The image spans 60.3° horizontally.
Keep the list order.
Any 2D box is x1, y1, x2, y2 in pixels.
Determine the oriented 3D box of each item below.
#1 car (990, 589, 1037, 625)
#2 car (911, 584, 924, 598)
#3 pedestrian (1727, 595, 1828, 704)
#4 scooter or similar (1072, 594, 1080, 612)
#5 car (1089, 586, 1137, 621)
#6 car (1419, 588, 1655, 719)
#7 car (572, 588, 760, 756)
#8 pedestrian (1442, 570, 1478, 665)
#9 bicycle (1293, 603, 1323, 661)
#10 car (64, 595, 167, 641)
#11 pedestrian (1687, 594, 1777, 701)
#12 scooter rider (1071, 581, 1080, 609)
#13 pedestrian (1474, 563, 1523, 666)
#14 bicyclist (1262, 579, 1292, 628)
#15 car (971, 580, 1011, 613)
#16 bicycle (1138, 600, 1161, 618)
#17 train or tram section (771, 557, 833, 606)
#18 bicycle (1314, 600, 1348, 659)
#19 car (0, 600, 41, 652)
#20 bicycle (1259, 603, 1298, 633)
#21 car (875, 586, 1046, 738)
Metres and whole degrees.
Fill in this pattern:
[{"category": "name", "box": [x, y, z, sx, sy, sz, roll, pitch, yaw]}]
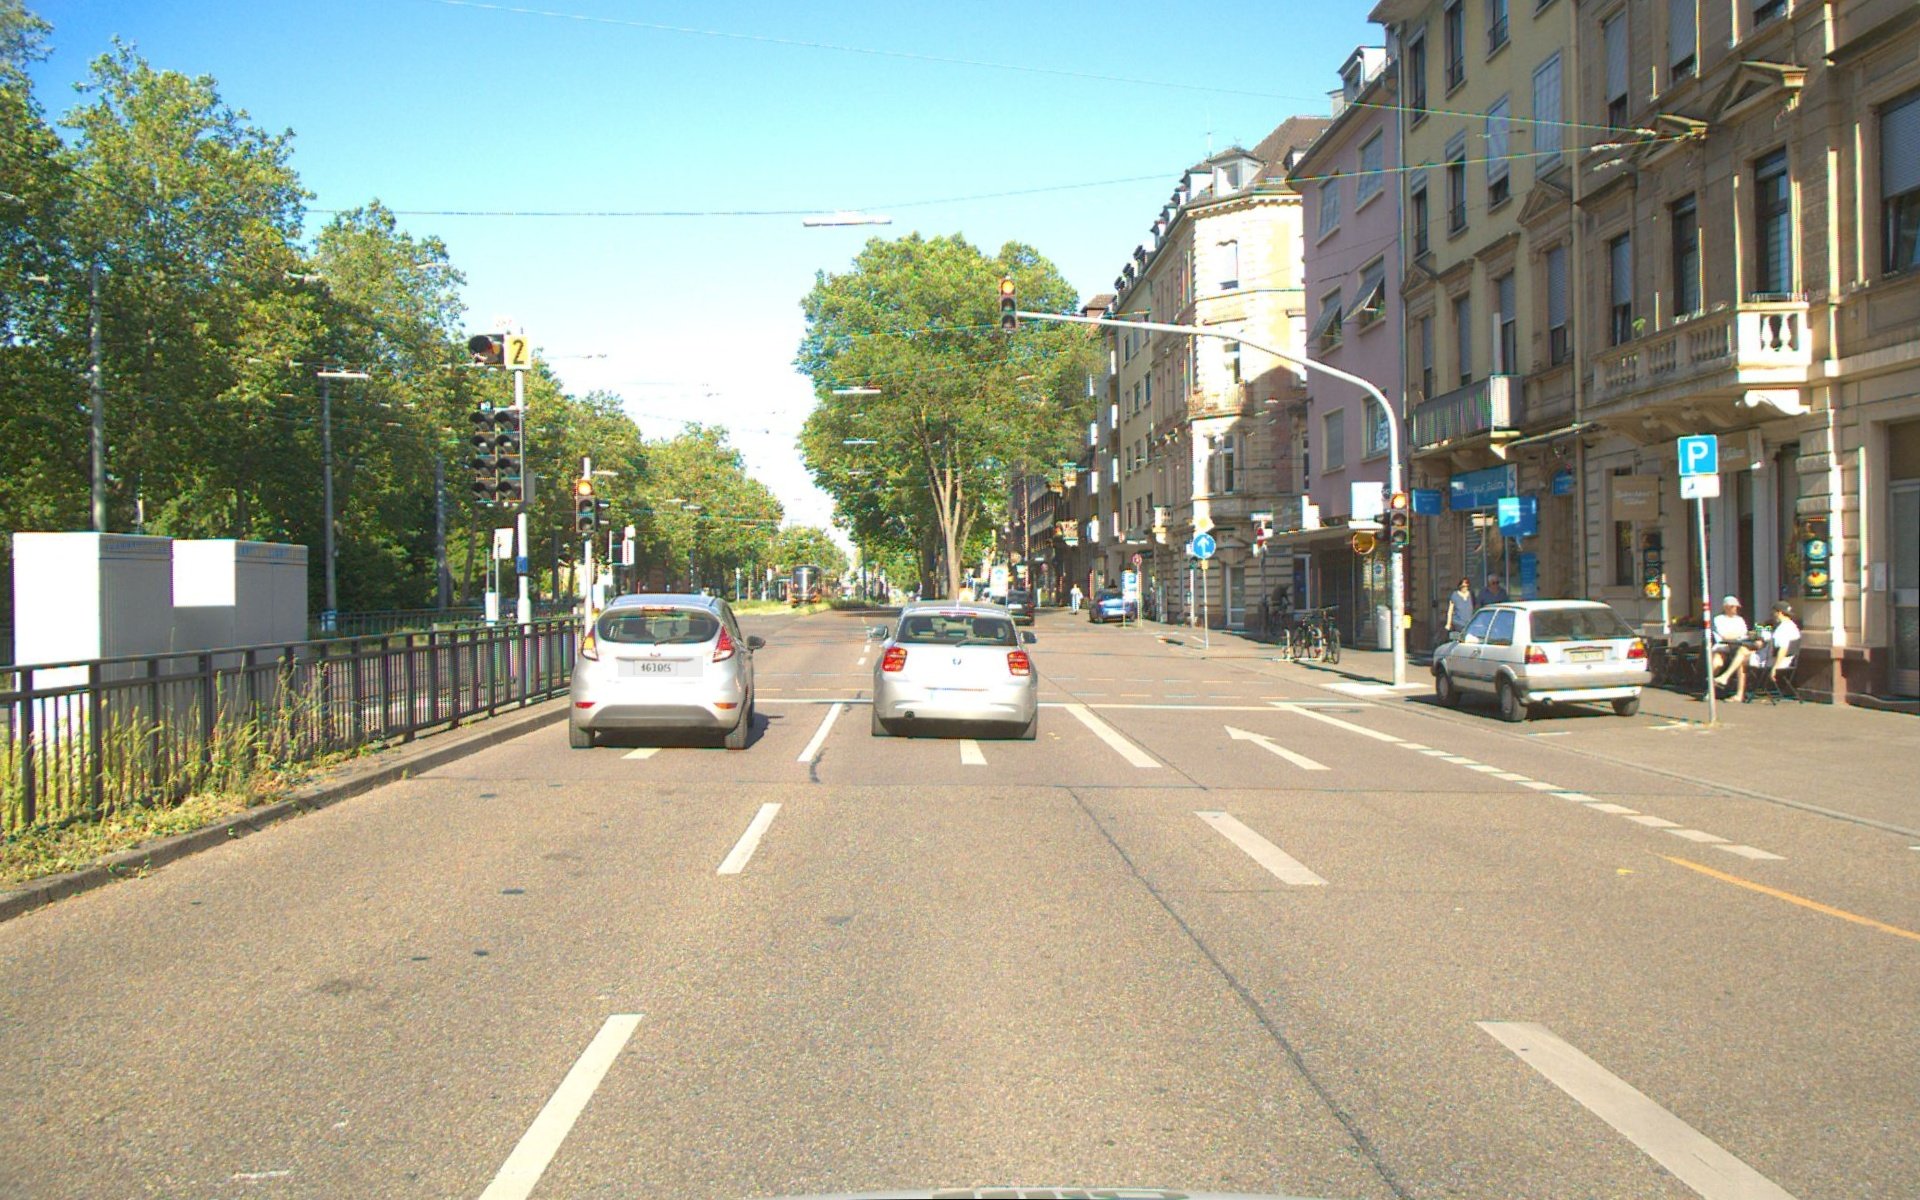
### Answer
[{"category": "car", "box": [2.205, 0.273, 69.274, 1.701, 1.458, 3.676, 1, 0, -3]}, {"category": "car", "box": [-6.363, -1.303, 249.444, 1.953, 2.049, 3.999, -1, 0, -1]}, {"category": "pedestrian", "box": [10.155, 0.604, 20.574, 0.883, 1.304, 0.655, -2, 0, -6]}, {"category": "scooter or similar", "box": [6.480, 0.162, 92.393, 0.330, 1.005, 1.284, 0, 1, 0]}, {"category": "car", "box": [6.948, 0.153, 75.305, 1.700, 1.546, 3.635, 1, 0, -2]}, {"category": "car", "box": [7.349, 0.613, 21.478, 1.531, 1.440, 4.003, -4, 1, -1]}, {"category": "car", "box": [-2.900, 0.636, 16.954, 1.578, 1.493, 3.885, 0, 1, -6]}, {"category": "pedestrian", "box": [9.201, 0.313, 30.461, 0.538, 1.738, 0.388, -1, 0, 1]}, {"category": "bicycle", "box": [7.272, 0.663, 34.620, 0.405, 1.160, 1.810, 0, 0, 5]}, {"category": "car", "box": [-29.776, 0.622, 58.445, 1.636, 1.536, 4.143, 0, 0, -2]}, {"category": "pedestrian", "box": [9.894, 0.597, 21.221, 0.782, 1.303, 0.608, -4, 0, -3]}, {"category": "scooter rider", "box": [6.456, -0.269, 92.325, 0.456, 1.531, 0.811, 0, -1, 0]}, {"category": "pedestrian", "box": [9.846, 0.263, 30.242, 0.659, 1.838, 0.530, -2, 0, -1]}, {"category": "bicyclist", "box": [9.955, 0.109, 51.894, 0.538, 1.528, 0.956, -1, 0, 40]}, {"category": "car", "box": [1.481, -0.157, 79.799, 1.690, 1.533, 3.553, 1, 0, -3]}, {"category": "bicycle", "box": [8.655, 0.405, 75.589, 0.739, 0.784, 1.944, 0, 0, -2]}, {"category": "train or tram section", "box": [-13.290, -1.537, 141.127, 3.888, 3.933, 17.485, 0, 0, -1]}, {"category": "bicycle", "box": [7.761, 0.599, 34.626, 0.439, 1.179, 1.759, 0, 1, 5]}, {"category": "car", "box": [-29.660, 0.811, 49.934, 1.636, 1.536, 4.143, -1, 0, -3]}, {"category": "bicycle", "box": [9.995, 0.547, 51.958, 0.642, 0.919, 1.331, 0, 1, 40]}, {"category": "car", "box": [-0.036, 0.611, 18.685, 1.705, 1.493, 3.999, 1, 0, -1]}]
